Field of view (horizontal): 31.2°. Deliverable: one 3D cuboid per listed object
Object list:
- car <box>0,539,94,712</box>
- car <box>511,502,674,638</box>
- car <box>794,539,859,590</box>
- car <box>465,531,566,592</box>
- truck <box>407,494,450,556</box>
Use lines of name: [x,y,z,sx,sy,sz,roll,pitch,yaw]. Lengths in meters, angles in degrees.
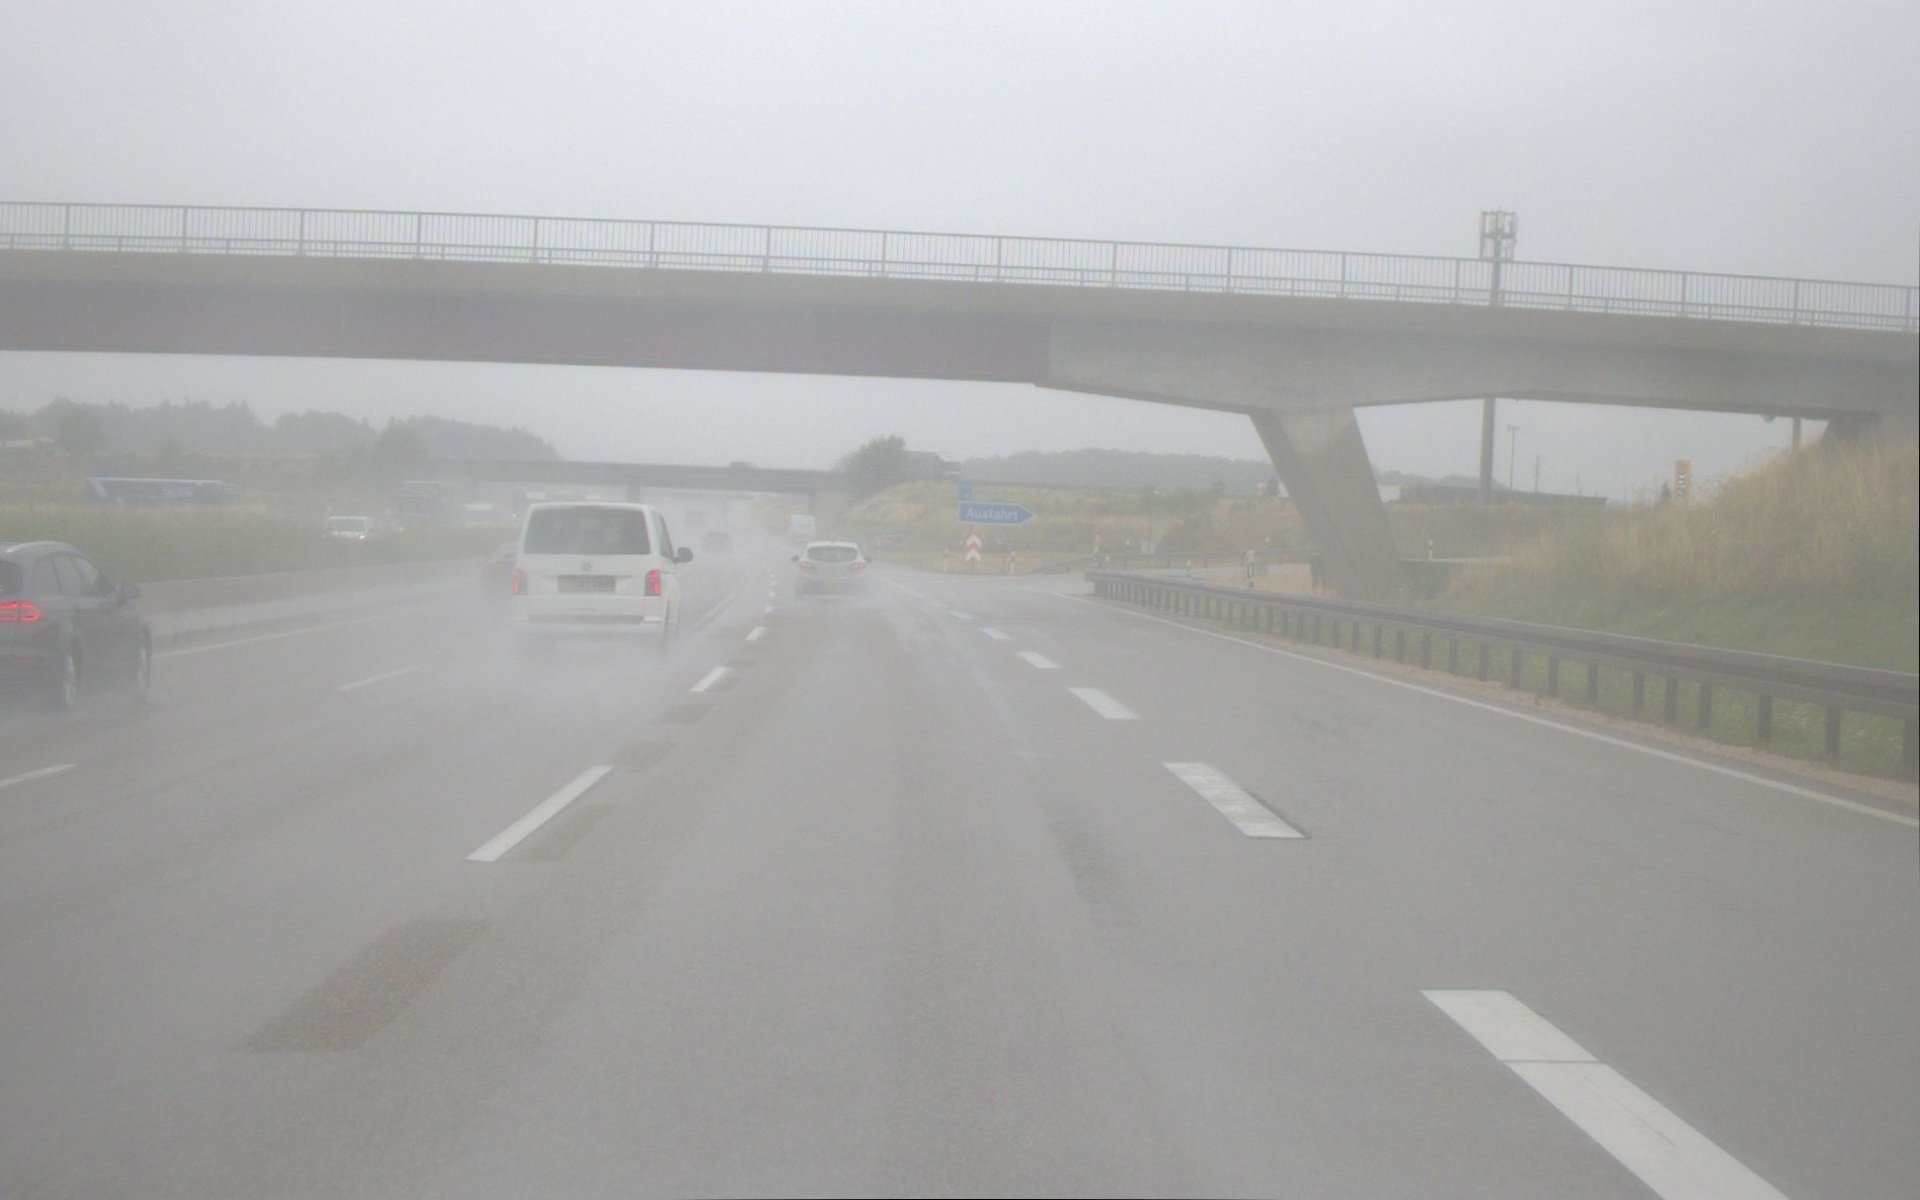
car: [-8.449,0.166,29.198,1.612,1.349,4.001,1,1,-7]
car: [-4.556,-0.391,43.053,1.897,1.580,4.001,1,1,-5]
car: [-3.197,-0.868,82.759,1.468,1.204,2.991,1,1,-1]
car: [-9.437,-0.824,73.151,1.468,1.253,3.339,1,1,5]
truck: [-34.611,-4.882,223.942,2.213,3.970,5.185,1,1,-3]
